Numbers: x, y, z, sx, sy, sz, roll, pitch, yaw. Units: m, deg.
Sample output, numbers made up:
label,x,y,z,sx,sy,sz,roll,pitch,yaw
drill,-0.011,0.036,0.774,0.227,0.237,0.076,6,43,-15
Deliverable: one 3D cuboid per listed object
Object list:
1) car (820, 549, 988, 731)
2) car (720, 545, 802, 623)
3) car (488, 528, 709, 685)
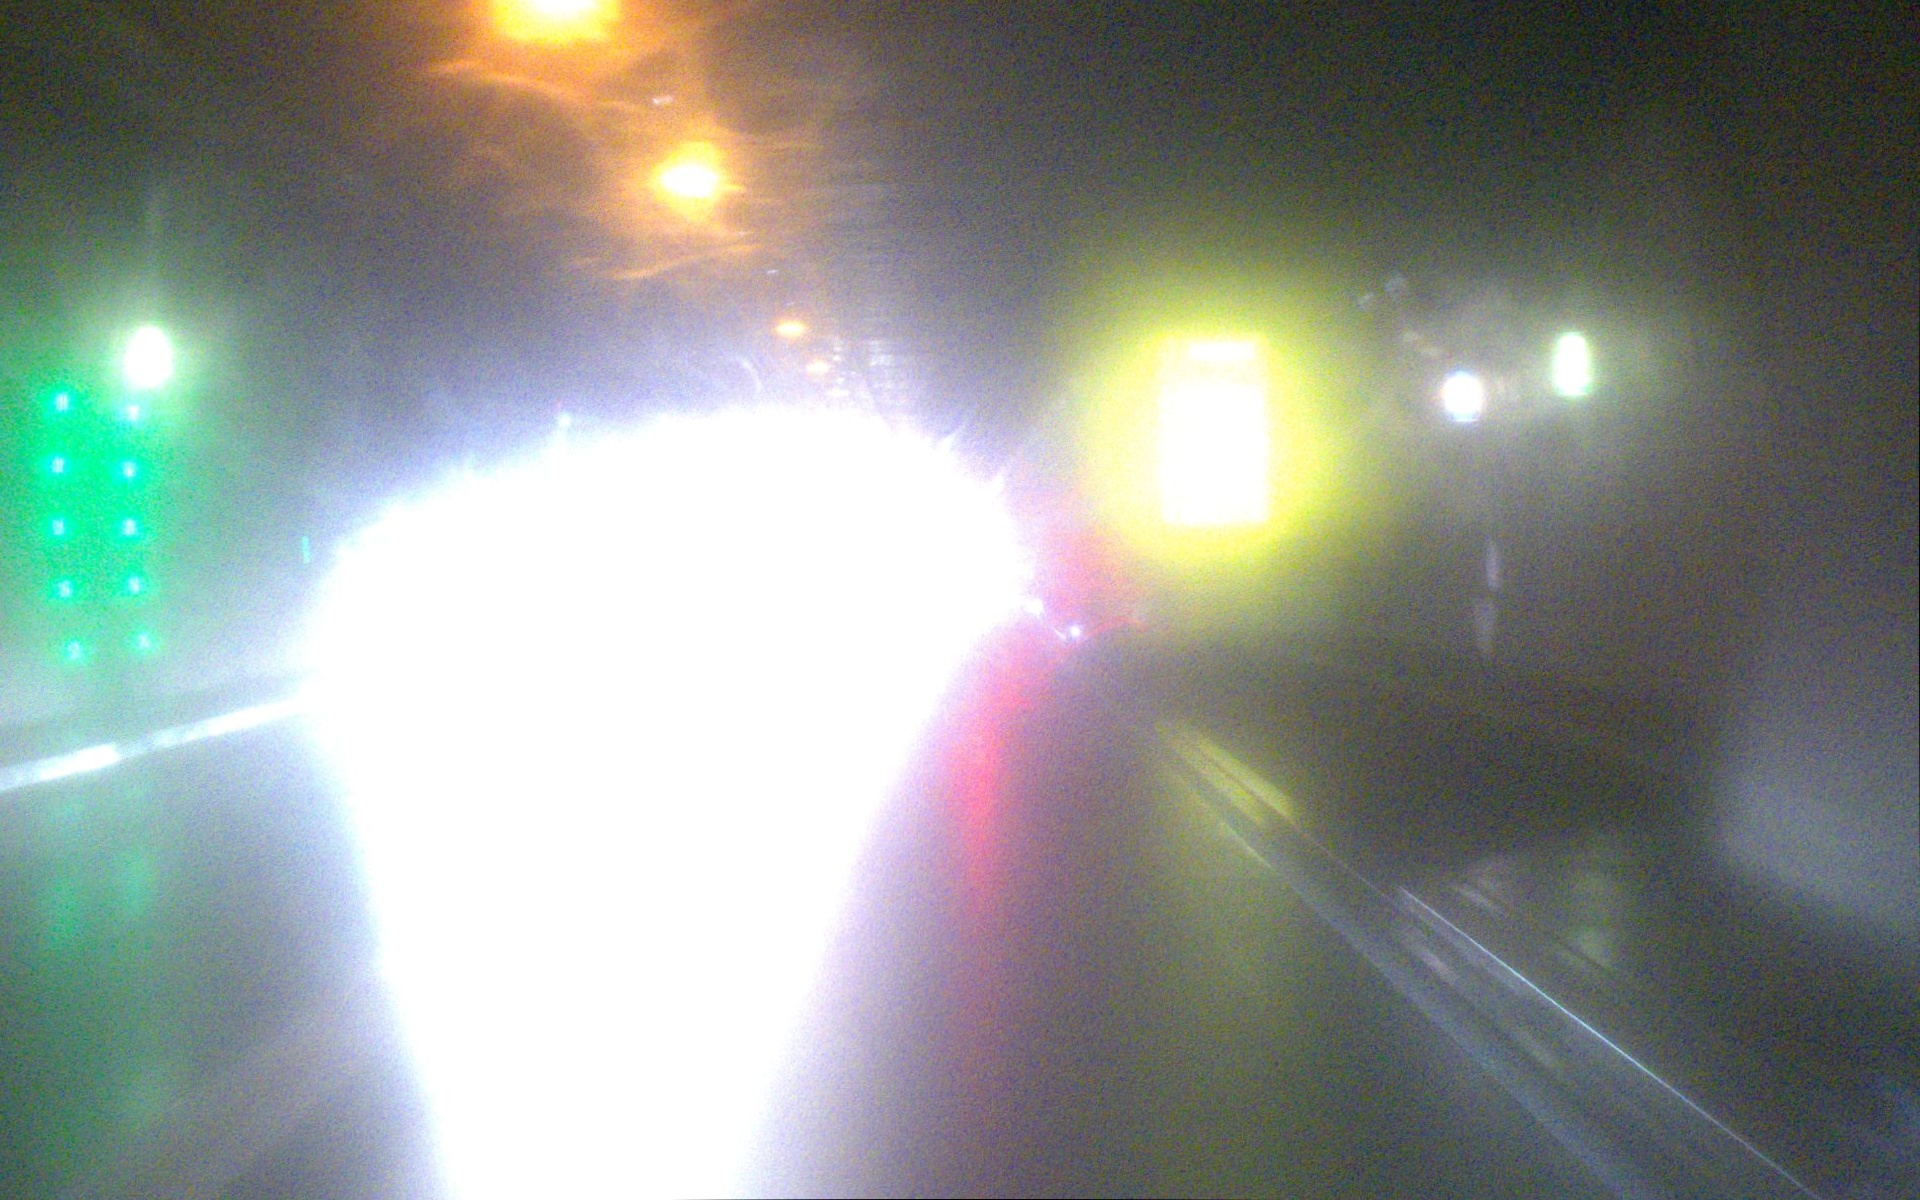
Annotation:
label,x,y,z,sx,sy,sz,roll,pitch,yaw
car,-0.547,0.360,35.887,1.635,1.752,4.146,-1,1,0
car,-4.255,-0.363,73.840,1.520,1.544,4.054,-1,2,0
car,-3.582,0.016,34.743,1.749,1.475,4.476,-1,1,0
